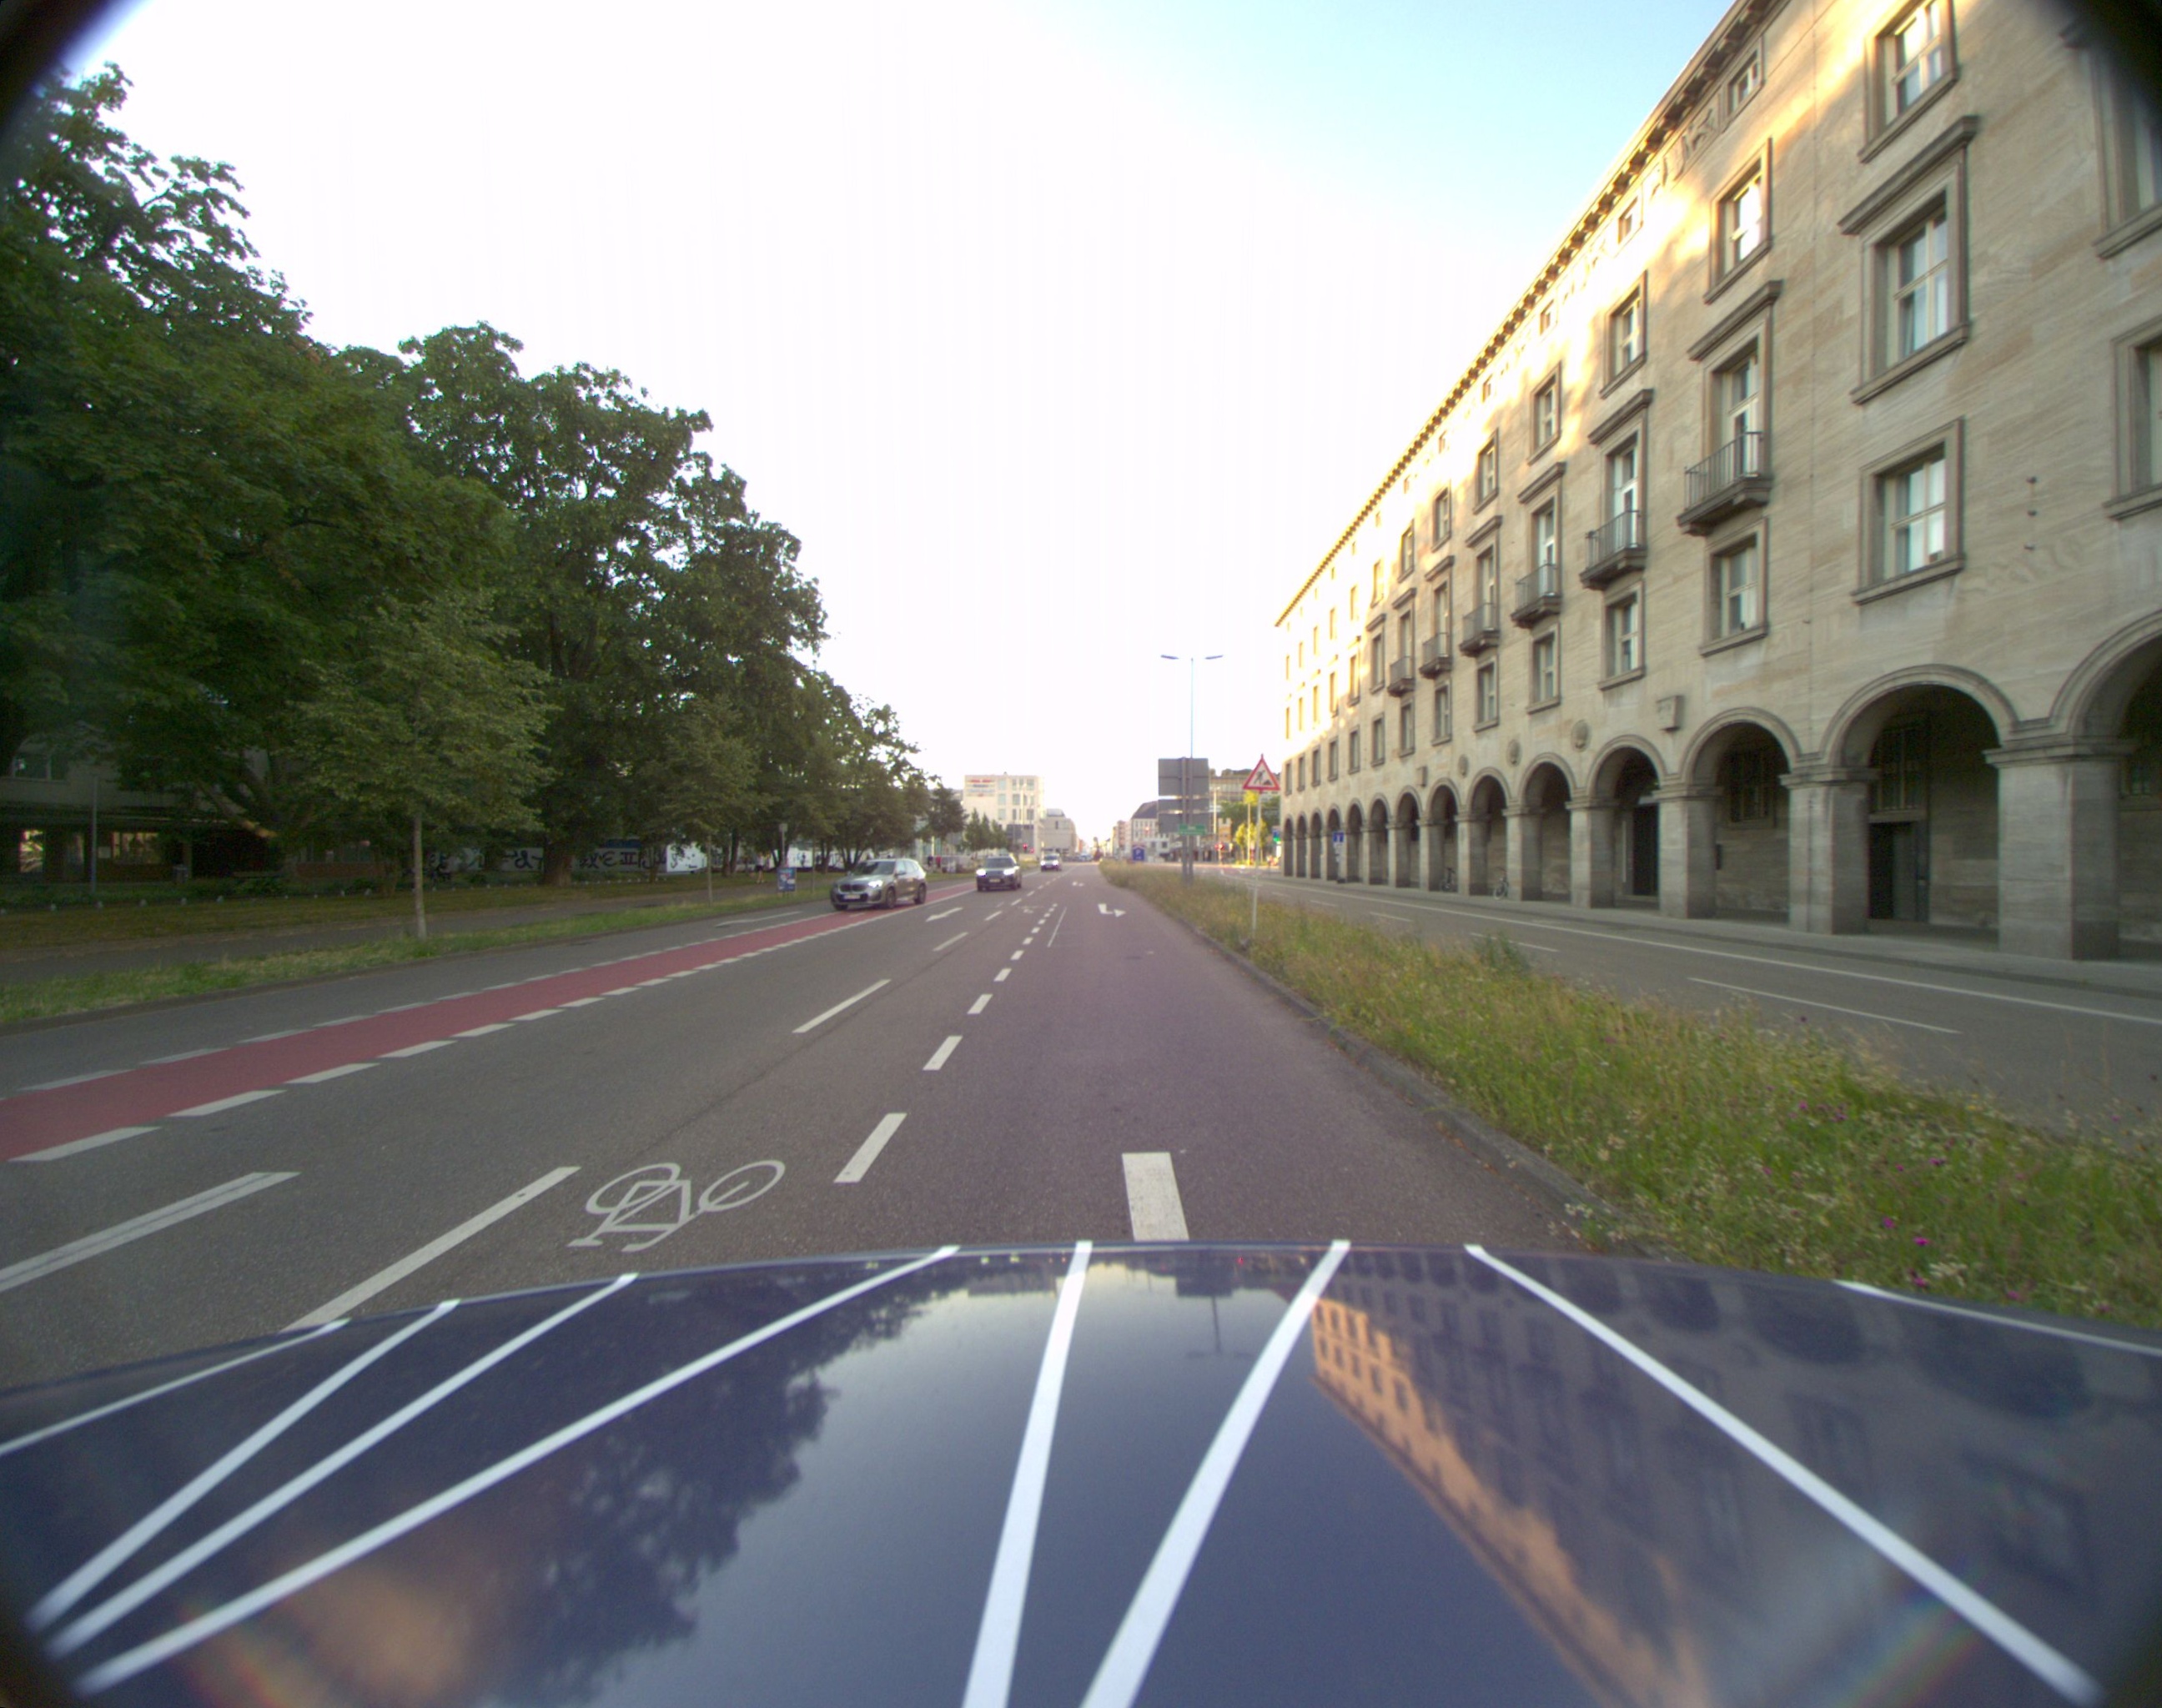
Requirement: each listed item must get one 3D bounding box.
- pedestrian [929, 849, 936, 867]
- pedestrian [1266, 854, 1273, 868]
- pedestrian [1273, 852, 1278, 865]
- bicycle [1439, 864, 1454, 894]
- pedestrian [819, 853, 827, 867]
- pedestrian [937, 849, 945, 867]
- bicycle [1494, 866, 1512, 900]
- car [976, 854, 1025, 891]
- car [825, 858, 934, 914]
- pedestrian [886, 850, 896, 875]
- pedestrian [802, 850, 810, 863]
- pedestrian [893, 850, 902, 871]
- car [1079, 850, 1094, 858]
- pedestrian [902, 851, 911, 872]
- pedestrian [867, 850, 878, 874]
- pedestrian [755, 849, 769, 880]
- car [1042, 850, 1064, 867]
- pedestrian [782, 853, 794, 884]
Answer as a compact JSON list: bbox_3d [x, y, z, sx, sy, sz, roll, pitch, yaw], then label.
[{"bbox_3d":[-14.656,0.385,74.968,0.638,1.747,0.506,0,1,1],"label":"pedestrian"},{"bbox_3d":[23.605,0.879,95.169,0.638,1.747,0.506,0,1,1],"label":"pedestrian"},{"bbox_3d":[24.344,0.555,95.073,0.526,1.532,0.390,0,1,1],"label":"pedestrian"},{"bbox_3d":[15.491,1.036,32.210,0.513,1.172,2.427,0,0,25],"label":"bicycle"},{"bbox_3d":[-26.168,0.609,77.004,0.662,1.347,0.559,0,1,1],"label":"pedestrian"},{"bbox_3d":[-13.824,0.396,74.907,0.638,1.747,0.506,0,1,1],"label":"pedestrian"},{"bbox_3d":[15.390,1.043,27.674,0.513,1.115,2.427,0,1,30],"label":"bicycle"},{"bbox_3d":[-3.781,0.824,36.234,1.782,1.617,4.215,-1,0,1],"label":"car"},{"bbox_3d":[-6.516,0.982,25.060,1.825,1.612,4.339,-2,0,9],"label":"car"},{"bbox_3d":[-13.521,0.596,53.971,0.558,1.729,0.555,0,1,1],"label":"pedestrian"},{"bbox_3d":[-27.604,0.229,76.282,0.631,1.347,0.681,0,1,1],"label":"pedestrian"},{"bbox_3d":[-15.021,0.492,62.211,0.519,1.720,0.719,0,1,1],"label":"pedestrian"},{"bbox_3d":[1.572,-0.066,218.232,1.995,2.297,5.099,0,0,28],"label":"car"},{"bbox_3d":[-14.243,0.630,62.080,0.509,1.720,0.719,0,1,1],"label":"pedestrian"},{"bbox_3d":[-15.067,0.591,54.911,0.509,1.720,0.719,0,1,1],"label":"pedestrian"},{"bbox_3d":[-16.469,0.557,39.202,0.500,1.592,0.522,0,1,1],"label":"pedestrian"},{"bbox_3d":[-2.817,0.481,77.206,1.781,1.676,4.216,0,0,3],"label":"car"},{"bbox_3d":[-15.182,0.764,39.344,0.500,1.592,0.365,0,1,1],"label":"pedestrian"}]
